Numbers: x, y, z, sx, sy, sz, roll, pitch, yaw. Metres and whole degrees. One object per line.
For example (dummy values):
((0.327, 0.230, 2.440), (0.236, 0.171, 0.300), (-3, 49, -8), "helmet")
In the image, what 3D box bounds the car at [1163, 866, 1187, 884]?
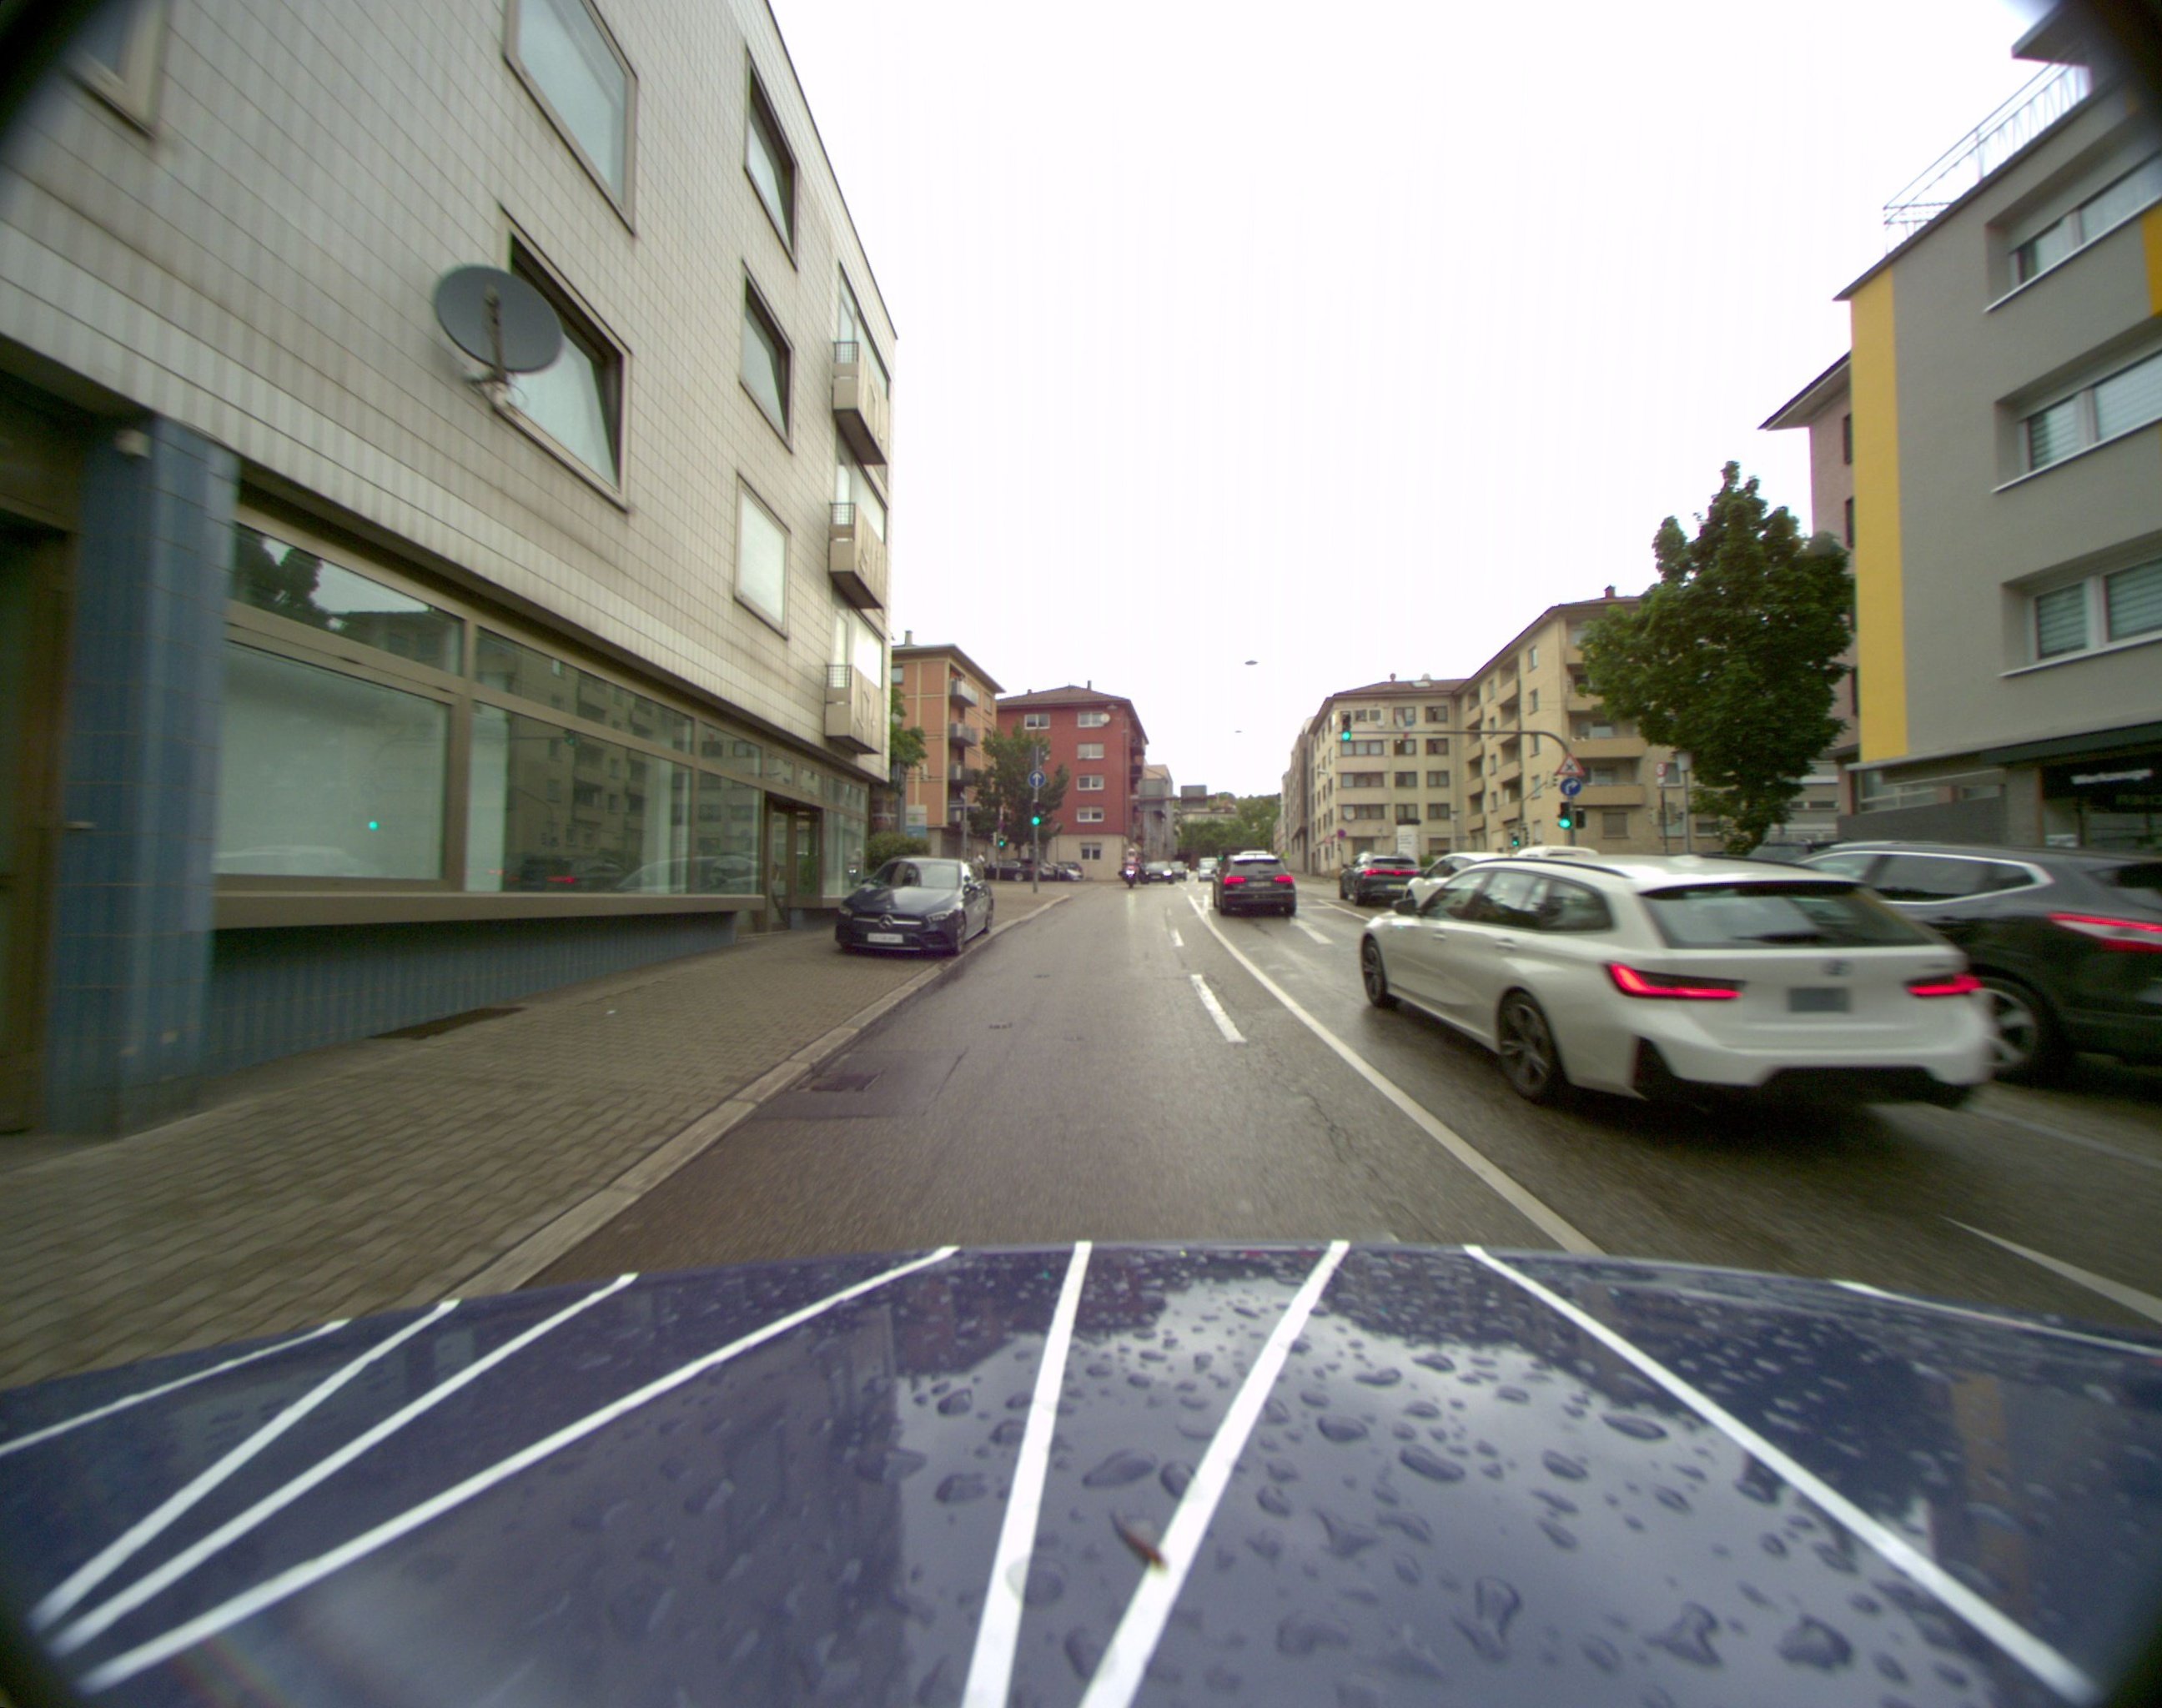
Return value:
((8.401, 1.899, 67.576), (1.838, 1.545, 4.004), (-1, -1, 11), "car")

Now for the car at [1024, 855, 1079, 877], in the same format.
((-2.319, 0.965, 60.179), (3.992, 1.687, 1.804), (-1, -3, 17), "car")

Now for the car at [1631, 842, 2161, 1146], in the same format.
((6.785, 0.758, 5.991), (1.811, 1.622, 4.342), (2, 1, 2), "car")

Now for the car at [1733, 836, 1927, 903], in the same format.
((20.939, 0.371, 21.291), (4.348, 1.719, 1.771), (-1, 2, -13), "car")

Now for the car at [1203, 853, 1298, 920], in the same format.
((4.124, 0.718, 19.110), (1.810, 1.407, 4.380), (0, 1, 6), "car")

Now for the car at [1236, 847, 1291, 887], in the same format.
((7.753, 0.505, 32.640), (1.822, 1.528, 4.380), (0, 1, 7), "car")

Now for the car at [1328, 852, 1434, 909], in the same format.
((8.484, 0.726, 21.886), (1.822, 1.469, 4.382), (0, -1, 7), "car")

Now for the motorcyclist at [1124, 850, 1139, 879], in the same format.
((2.168, 0.436, 32.503), (0.653, 1.216, 0.658), (0, 0, 4), "motorcyclist")

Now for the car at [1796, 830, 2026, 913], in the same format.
((20.696, 0.409, 19.038), (3.999, 1.783, 1.860), (-2, 0, -6), "car")

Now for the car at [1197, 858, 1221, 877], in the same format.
((10.563, 1.120, 62.402), (1.838, 1.545, 4.004), (-1, -1, 11), "car")

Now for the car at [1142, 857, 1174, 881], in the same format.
((4.812, 0.942, 47.215), (1.873, 1.433, 4.003), (-1, -1, 7), "car")

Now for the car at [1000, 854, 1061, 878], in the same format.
((-3.589, 0.872, 54.596), (3.994, 1.650, 1.995), (0, -2, 8), "car")

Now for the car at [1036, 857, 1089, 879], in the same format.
((-1.547, 1.162, 62.306), (3.990, 1.571, 1.678), (-3, -4, 29), "car")

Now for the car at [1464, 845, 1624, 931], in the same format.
((11.482, 0.740, 19.205), (1.731, 1.819, 4.062), (5, 1, 6), "car")

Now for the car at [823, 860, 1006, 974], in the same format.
((-2.497, 0.870, 12.549), (1.767, 1.384, 4.379), (2, 1, 3), "car")

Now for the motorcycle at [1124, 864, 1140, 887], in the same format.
((2.200, 0.918, 32.681), (0.637, 0.921, 2.365), (-2, 0, 4), "motorcycle")

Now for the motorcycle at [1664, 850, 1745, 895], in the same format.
((19.135, 0.562, 23.347), (1.991, 1.321, 0.540), (-1, -1, 1), "motorcycle")

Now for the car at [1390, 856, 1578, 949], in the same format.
((7.554, 0.836, 14.771), (1.810, 1.533, 4.382), (0, -1, 7), "car")

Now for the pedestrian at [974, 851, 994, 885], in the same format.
((-4.926, 0.717, 38.498), (0.760, 1.636, 0.709), (5, -4, -25), "pedestrian")

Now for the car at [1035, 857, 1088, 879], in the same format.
((-1.627, 1.208, 64.693), (3.991, 1.694, 2.004), (-2, -4, 22), "car")

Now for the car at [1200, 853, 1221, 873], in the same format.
((13.911, 1.023, 81.392), (1.940, 1.903, 4.862), (-2, -3, 12), "car")

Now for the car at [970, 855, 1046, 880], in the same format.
((-4.989, 0.905, 51.957), (4.787, 1.545, 1.852), (1, -1, 12), "car")

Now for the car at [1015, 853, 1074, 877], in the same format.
((-2.736, 0.861, 57.140), (3.991, 1.709, 1.997), (-1, -1, 22), "car")

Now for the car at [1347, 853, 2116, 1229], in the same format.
((3.522, 0.784, 5.498), (1.811, 1.512, 4.562), (0, 1, 3), "car")

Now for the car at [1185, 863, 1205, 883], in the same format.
((10.947, 1.807, 72.840), (1.792, 1.716, 4.006), (-1, -4, 9), "car")

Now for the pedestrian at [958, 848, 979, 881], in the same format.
((-5.725, 0.532, 38.653), (0.708, 1.636, 0.760), (2, -3, 14), "pedestrian")
